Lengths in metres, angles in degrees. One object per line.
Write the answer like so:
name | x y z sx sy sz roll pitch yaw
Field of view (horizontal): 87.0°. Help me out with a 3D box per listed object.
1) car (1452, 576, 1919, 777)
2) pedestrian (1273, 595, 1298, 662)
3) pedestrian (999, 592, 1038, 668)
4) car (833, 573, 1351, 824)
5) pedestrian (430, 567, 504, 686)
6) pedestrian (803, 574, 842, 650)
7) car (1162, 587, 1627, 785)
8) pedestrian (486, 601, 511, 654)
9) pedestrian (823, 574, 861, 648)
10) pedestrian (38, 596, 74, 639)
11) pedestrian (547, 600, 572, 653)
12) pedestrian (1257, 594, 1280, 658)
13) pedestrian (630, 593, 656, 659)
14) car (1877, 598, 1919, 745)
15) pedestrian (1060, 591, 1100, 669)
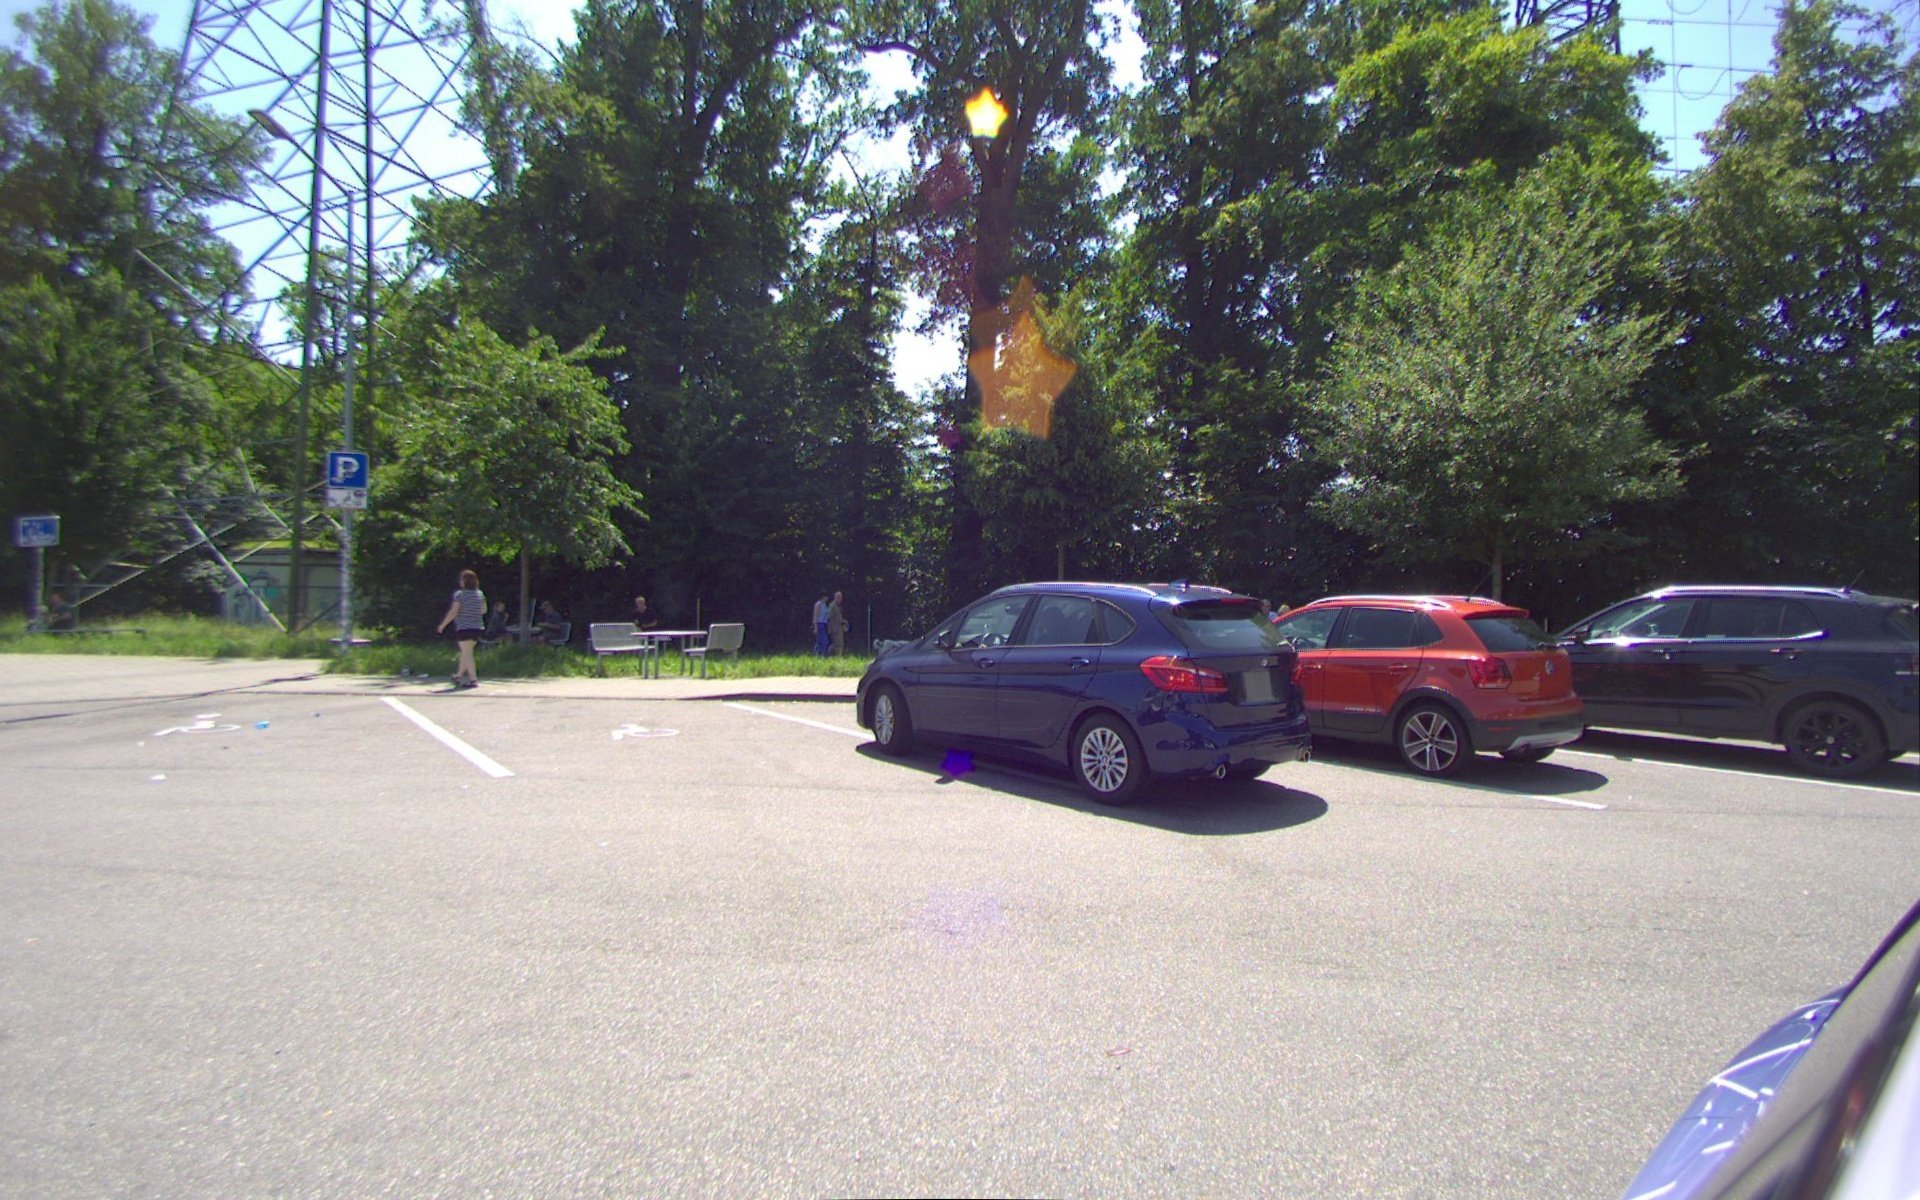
car | 7.097 0.587 9.868 1.620 1.575 3.826 0 0 -37
pedestrian | 5.771 0.499 17.954 0.350 1.180 0.384 0 0 8
pedestrian | 0.990 0.491 17.116 0.586 1.261 0.445 0 0 16
car | 0.831 0.571 8.546 1.717 1.572 4.339 0 1 -40
pedestrian | -7.119 0.372 14.627 0.703 1.670 0.686 0 0 8
pedestrian | -2.983 0.246 21.960 0.569 1.625 0.638 0 0 38
car | 3.881 0.629 9.652 1.619 1.487 3.830 0 0 -33
pedestrian | -10.433 0.609 22.862 0.452 1.182 0.447 0 0 -34
pedestrian | -2.632 0.239 22.562 0.569 1.625 0.638 0 0 38
pedestrian | -20.951 0.393 23.462 0.452 0.987 0.447 0 0 -2
pedestrian | -9.344 0.610 23.603 0.452 1.209 0.447 0 0 -34
pedestrian | 5.820 0.487 19.129 0.350 1.180 0.384 0 0 8
pedestrian | -6.686 0.541 21.350 0.438 1.363 0.462 0 0 -5
car | 10.897 0.697 9.013 1.620 1.420 3.826 0 0 -37
pedestrian | 2.003 0.489 16.860 0.586 1.261 0.498 0 0 16
